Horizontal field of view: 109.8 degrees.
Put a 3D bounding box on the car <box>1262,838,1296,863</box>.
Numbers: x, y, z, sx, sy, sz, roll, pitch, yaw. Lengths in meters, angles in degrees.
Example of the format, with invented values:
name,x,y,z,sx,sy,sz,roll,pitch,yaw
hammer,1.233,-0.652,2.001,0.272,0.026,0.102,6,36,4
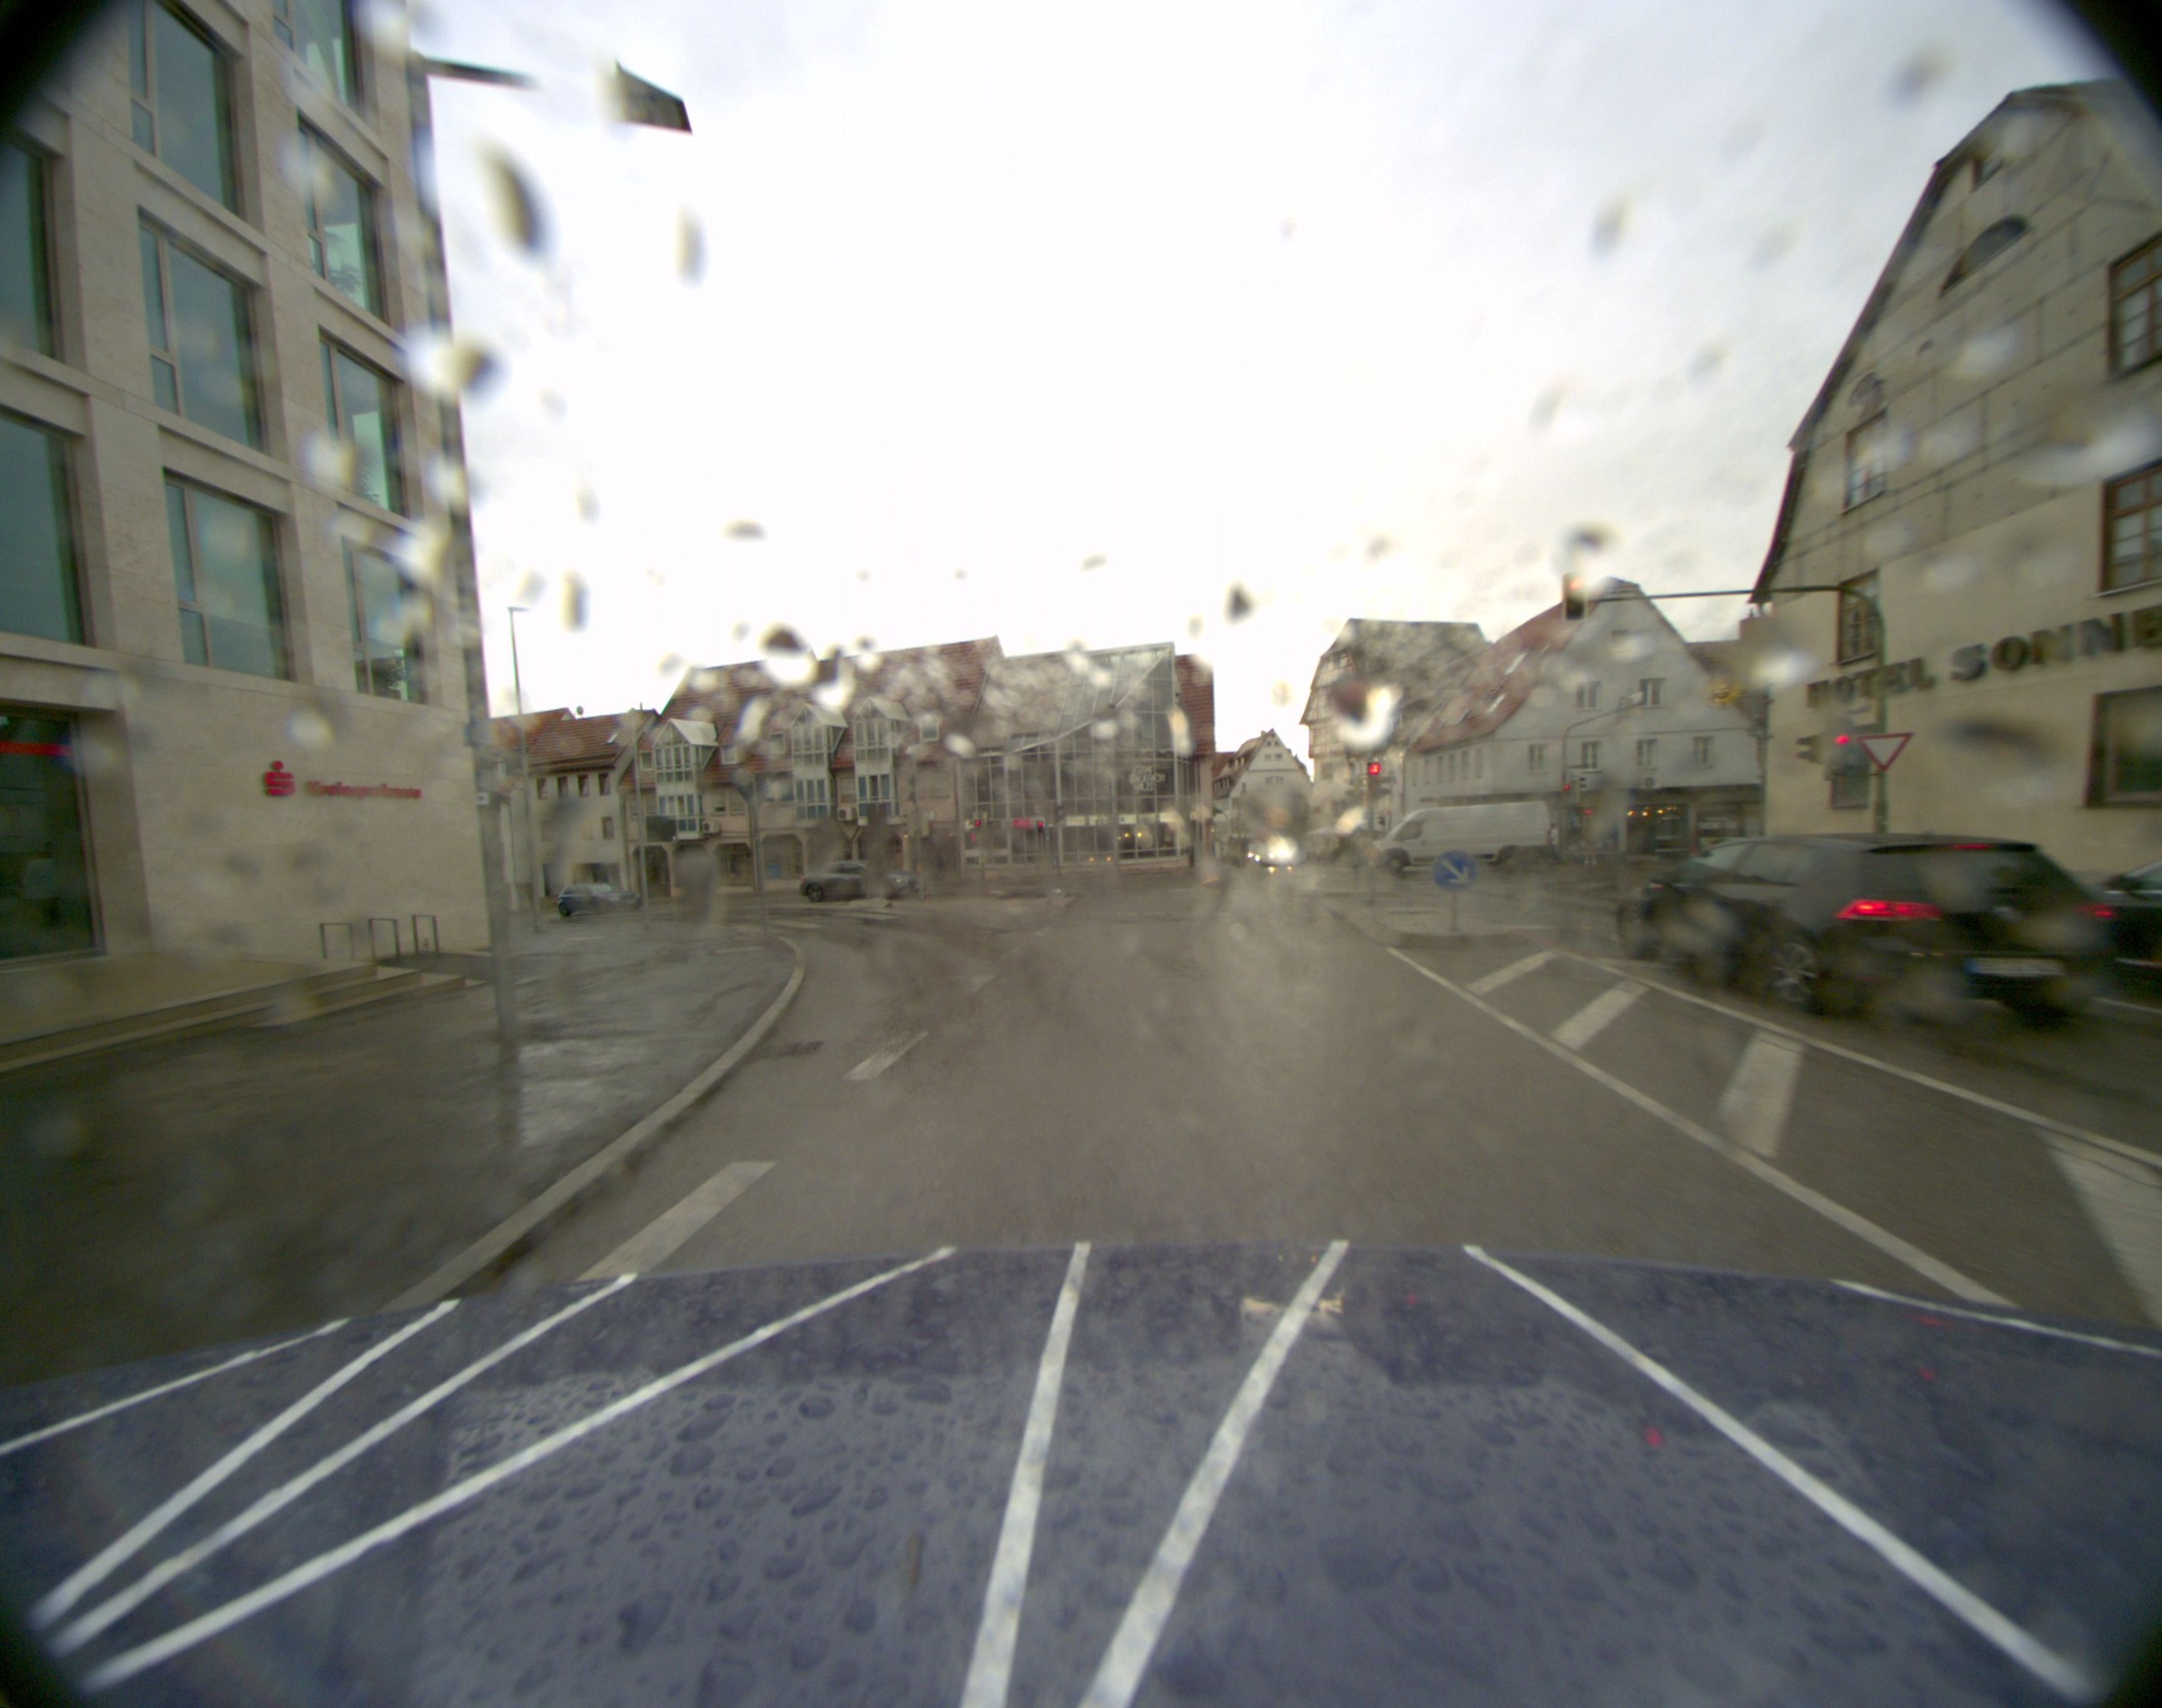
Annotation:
name,x,y,z,sx,sy,sz,roll,pitch,yaw
car,13.030,-0.262,50.259,1.726,1.538,4.002,-2,1,8

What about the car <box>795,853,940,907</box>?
name,x,y,z,sx,sy,sz,roll,pitch,yaw
car,-8.167,0.988,29.109,5.022,1.834,2.002,-2,1,19

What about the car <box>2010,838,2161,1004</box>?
name,x,y,z,sx,sy,sz,roll,pitch,yaw
car,9.399,0.543,5.138,1.851,1.286,4.036,-2,1,13

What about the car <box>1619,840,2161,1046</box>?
name,x,y,z,sx,sy,sz,roll,pitch,yaw
car,6.896,0.584,6.985,1.816,1.356,3.750,-2,1,12

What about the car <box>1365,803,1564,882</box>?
name,x,y,z,sx,sy,sz,roll,pitch,yaw
car,14.447,-0.387,29.115,6.501,2.673,2.002,-2,1,16

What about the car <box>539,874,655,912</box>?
name,x,y,z,sx,sy,sz,roll,pitch,yaw
car,-22.528,1.815,35.365,5.021,1.537,2.003,-2,1,23
